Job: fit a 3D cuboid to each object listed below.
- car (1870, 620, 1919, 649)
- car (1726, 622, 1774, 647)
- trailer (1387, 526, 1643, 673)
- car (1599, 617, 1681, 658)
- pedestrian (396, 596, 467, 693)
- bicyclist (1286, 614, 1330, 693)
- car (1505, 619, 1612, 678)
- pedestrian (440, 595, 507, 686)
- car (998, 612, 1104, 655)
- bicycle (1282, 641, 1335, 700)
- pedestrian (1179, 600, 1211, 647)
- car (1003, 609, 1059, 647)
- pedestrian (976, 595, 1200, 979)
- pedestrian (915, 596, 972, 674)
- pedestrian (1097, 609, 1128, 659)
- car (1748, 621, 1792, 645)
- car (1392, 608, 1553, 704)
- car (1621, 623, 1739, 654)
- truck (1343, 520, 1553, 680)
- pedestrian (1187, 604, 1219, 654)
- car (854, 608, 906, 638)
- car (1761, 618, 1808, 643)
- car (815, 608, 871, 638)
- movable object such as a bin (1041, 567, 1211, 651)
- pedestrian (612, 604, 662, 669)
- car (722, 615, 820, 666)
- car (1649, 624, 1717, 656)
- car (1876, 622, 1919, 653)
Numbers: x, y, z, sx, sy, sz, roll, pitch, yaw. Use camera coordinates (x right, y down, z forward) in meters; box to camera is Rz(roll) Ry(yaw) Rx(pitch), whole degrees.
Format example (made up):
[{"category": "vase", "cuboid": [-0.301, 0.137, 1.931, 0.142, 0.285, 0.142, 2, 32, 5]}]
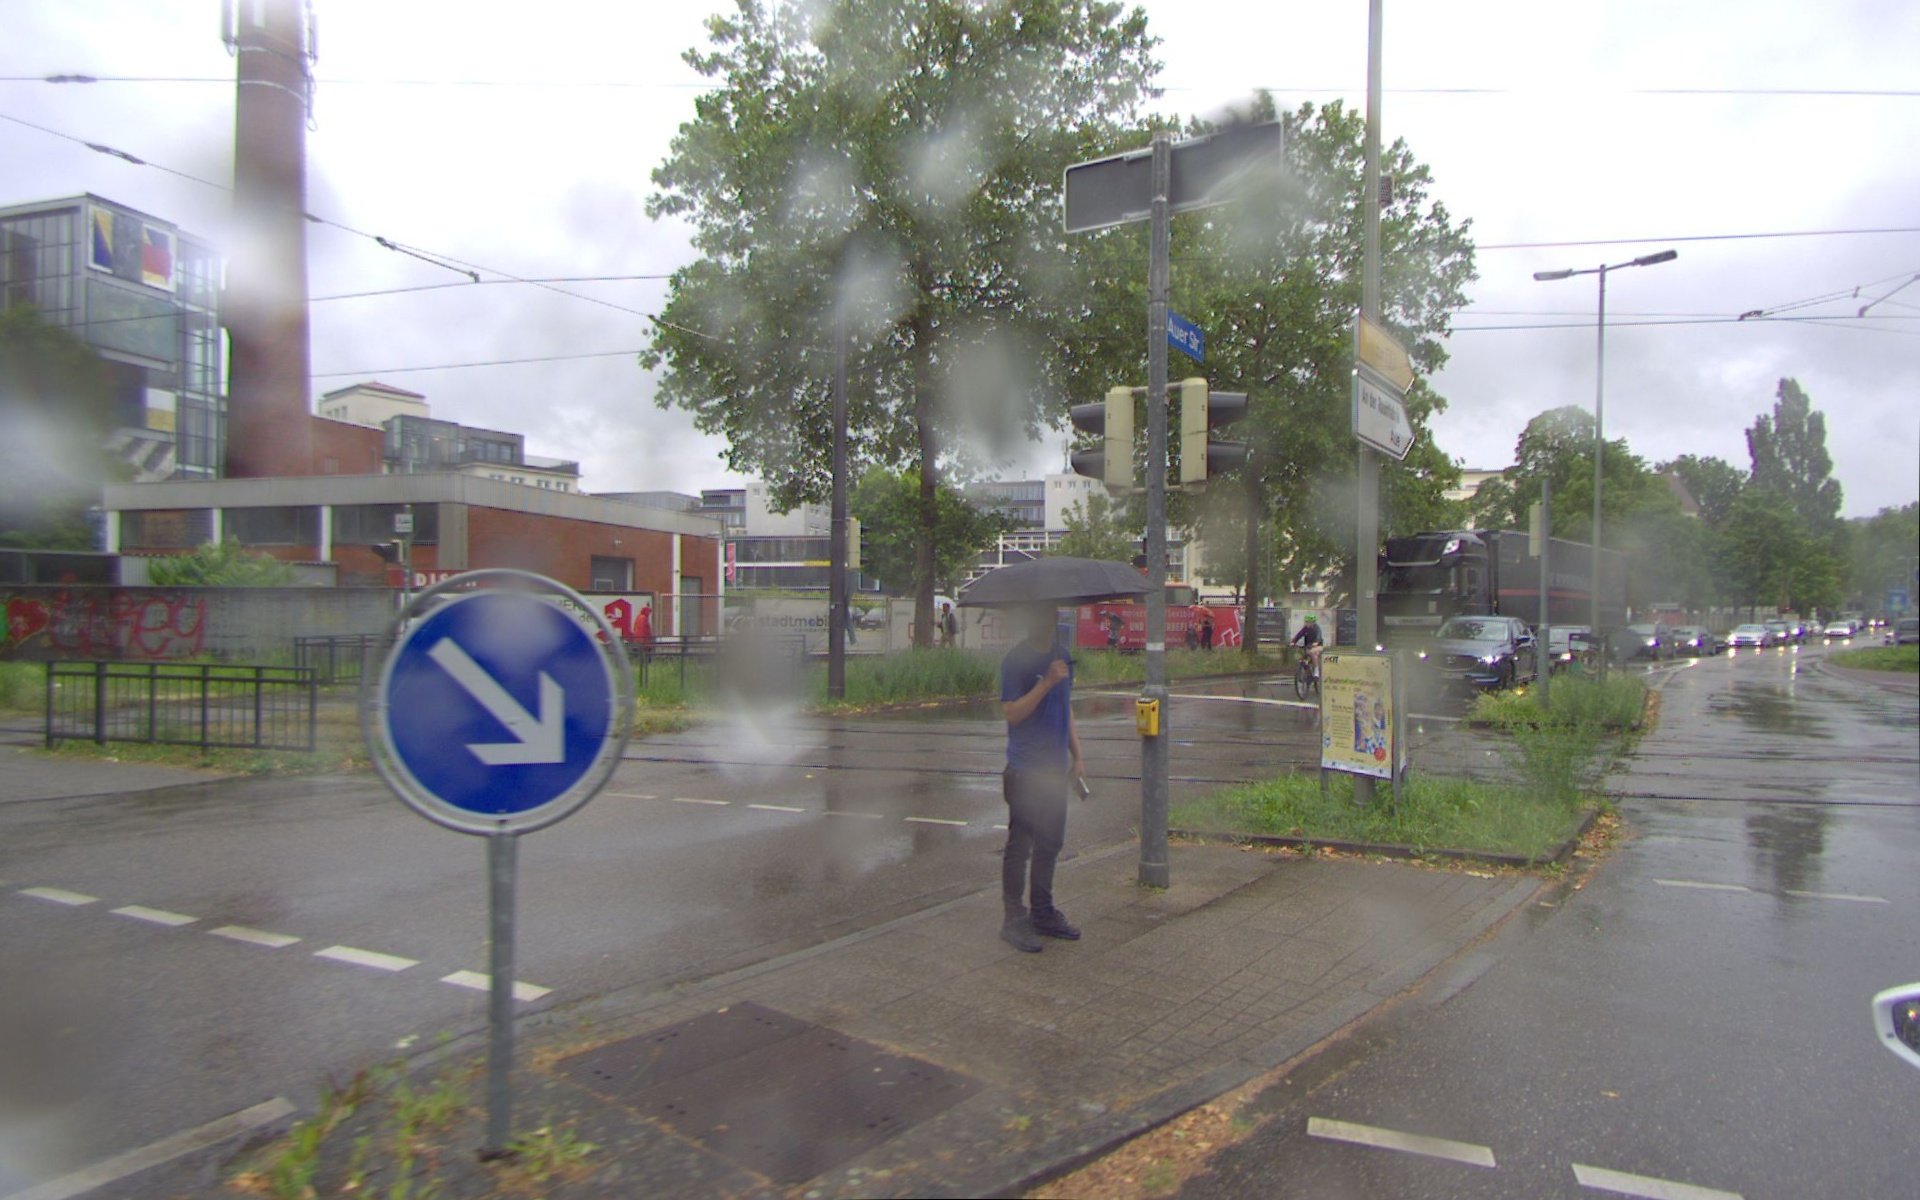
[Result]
[{"category": "car", "cuboid": [54.052, 1.965, 56.537, 1.877, 1.589, 4.147, 1, -1, -45]}, {"category": "car", "cuboid": [48.012, 2.060, 61.040, 1.756, 1.422, 4.800, 1, 0, 45]}, {"category": "trailer", "cuboid": [19.575, 0.058, 34.534, 14.945, 4.103, 3.409, 1, -1, -44]}, {"category": "car", "cuboid": [28.839, 1.604, 42.563, 4.768, 1.640, 1.850, 3, -3, -43]}, {"category": "pedestrian", "cuboid": [-10.501, 0.869, 19.969, 0.937, 1.887, 0.849, -1, -1, 19]}, {"category": "bicyclist", "cuboid": [6.733, 1.009, 19.423, 0.571, 1.480, 1.008, 0, -1, 33]}, {"category": "car", "cuboid": [16.089, 1.252, 26.923, 1.680, 1.391, 4.076, 0, 0, 43]}, {"category": "pedestrian", "cuboid": [-10.315, 0.843, 21.311, 0.937, 1.887, 0.849, -1, -1, 19]}, {"category": "car", "cuboid": [3.145, 1.127, 35.263, 1.825, 1.339, 3.628, 1, 0, -35]}, {"category": "bicycle", "cuboid": [6.763, 1.338, 19.448, 0.524, 1.038, 1.869, 0, -1, 33]}, {"category": "pedestrian", "cuboid": [8.135, 0.798, 34.798, 0.868, 1.602, 0.639, 0, -1, -22]}, {"category": "car", "cuboid": [3.658, 1.389, 51.138, 1.960, 1.816, 4.000, 0, 1, 18]}, {"category": "pedestrian", "cuboid": [0.602, 0.789, 4.688, 0.848, 1.602, 0.641, -1, -1, 30]}, {"category": "pedestrian", "cuboid": [-0.442, 0.907, 26.565, 1.206, 1.991, 0.900, 1, 0, -43]}, {"category": "pedestrian", "cuboid": [4.721, 1.039, 31.094, 0.760, 1.535, 0.639, 0, -1, -21]}, {"category": "car", "cuboid": [53.276, 2.140, 66.046, 4.235, 1.439, 1.762, 0, -1, -44]}, {"category": "car", "cuboid": [11.418, 1.123, 22.201, 2.049, 1.705, 4.905, 3, 3, 40]}, {"category": "car", "cuboid": [37.069, 1.954, 51.901, 2.049, 1.473, 4.919, 0, -1, -11]}, {"category": "truck", "cuboid": [14.553, 0.016, 29.729, 6.926, 4.133, 3.417, 0, 0, -44]}, {"category": "pedestrian", "cuboid": [8.122, 0.973, 33.622, 0.890, 1.671, 0.754, 0, -1, 1]}, {"category": "car", "cuboid": [-4.923, 1.368, 62.365, 1.959, 1.760, 4.589, 0, 0, 12]}, {"category": "car", "cuboid": [58.130, 2.144, 70.807, 4.786, 1.661, 1.896, 1, 0, -42]}, {"category": "car", "cuboid": [-7.234, 1.366, 62.679, 1.959, 1.760, 4.906, 0, 0, 12]}, {"category": "movable object such as a bin", "cuboid": [6.265, 0.310, 38.986, 2.745, 2.970, 6.718, 0, 0, -32]}, {"category": "pedestrian", "cuboid": [-7.830, 0.874, 24.346, 0.812, 1.524, 0.849, -1, -1, 19]}, {"category": "car", "cuboid": [-5.671, 1.161, 29.877, 1.821, 1.339, 3.636, 1, 0, -29]}, {"category": "car", "cuboid": [33.758, 1.823, 46.864, 4.305, 1.379, 1.711, 1, -1, -42]}, {"category": "car", "cuboid": [48.332, 1.855, 49.573, 1.969, 1.489, 4.490, 1, -2, -43]}]
